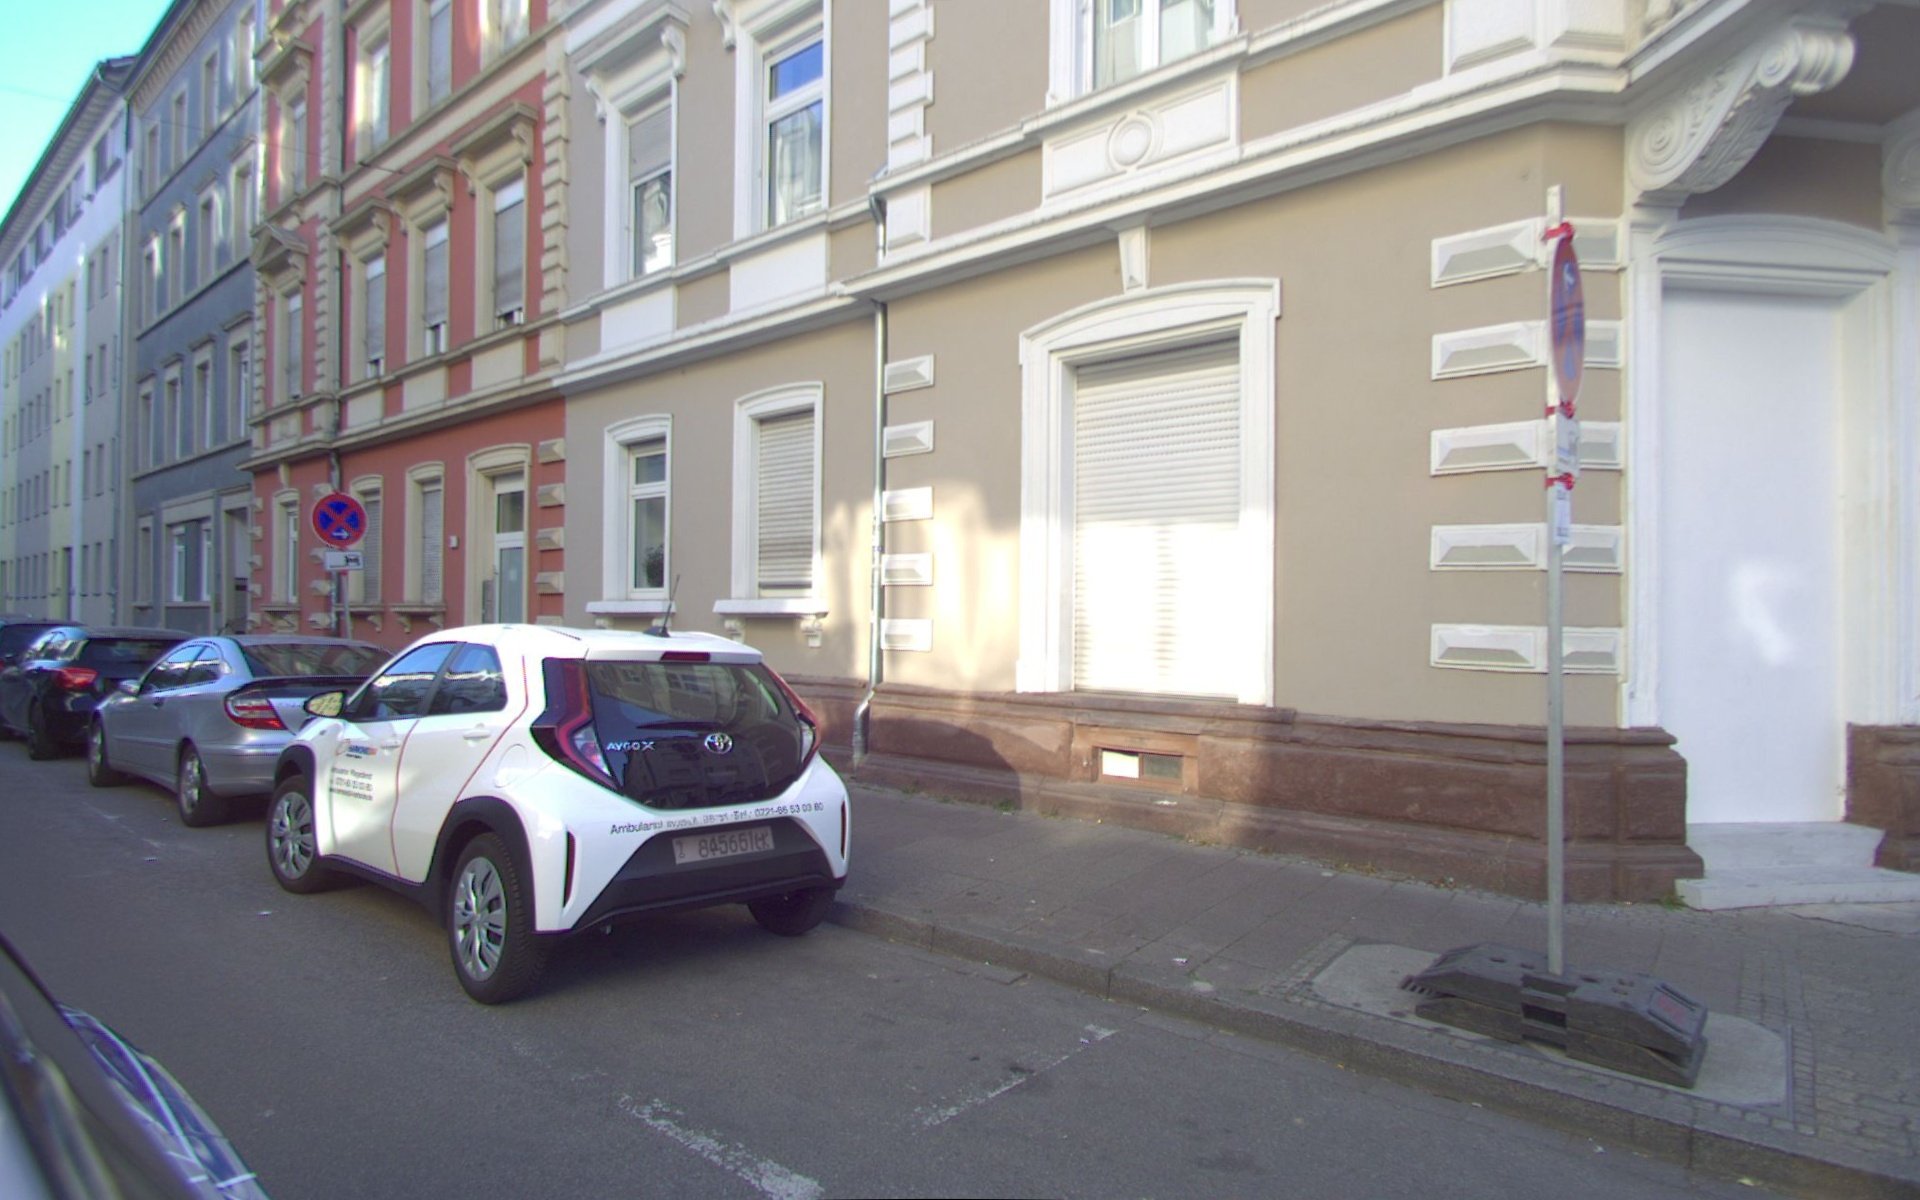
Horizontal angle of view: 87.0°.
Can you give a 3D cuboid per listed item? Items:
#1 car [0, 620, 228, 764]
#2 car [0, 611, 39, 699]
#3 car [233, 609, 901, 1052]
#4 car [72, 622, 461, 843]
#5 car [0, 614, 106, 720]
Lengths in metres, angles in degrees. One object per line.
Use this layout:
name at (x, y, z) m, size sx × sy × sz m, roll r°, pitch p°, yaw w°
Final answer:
car at (-10.284, 1.011, 12.021) m, size 3.909 × 1.426 × 1.569 m, roll -1°, pitch -5°, yaw 40°
car at (-18.878, 0.988, 19.097) m, size 4.425 × 1.534 × 1.578 m, roll 0°, pitch -1°, yaw 39°
car at (-2.292, 0.864, 5.399) m, size 3.842 × 1.507 × 1.666 m, roll 0°, pitch -5°, yaw 41°
car at (-6.038, 0.960, 8.651) m, size 3.957 × 1.439 × 1.594 m, roll 0°, pitch -4°, yaw 38°
car at (-15.000, 0.975, 15.932) m, size 4.190 × 1.510 × 1.518 m, roll 0°, pitch -3°, yaw 38°
